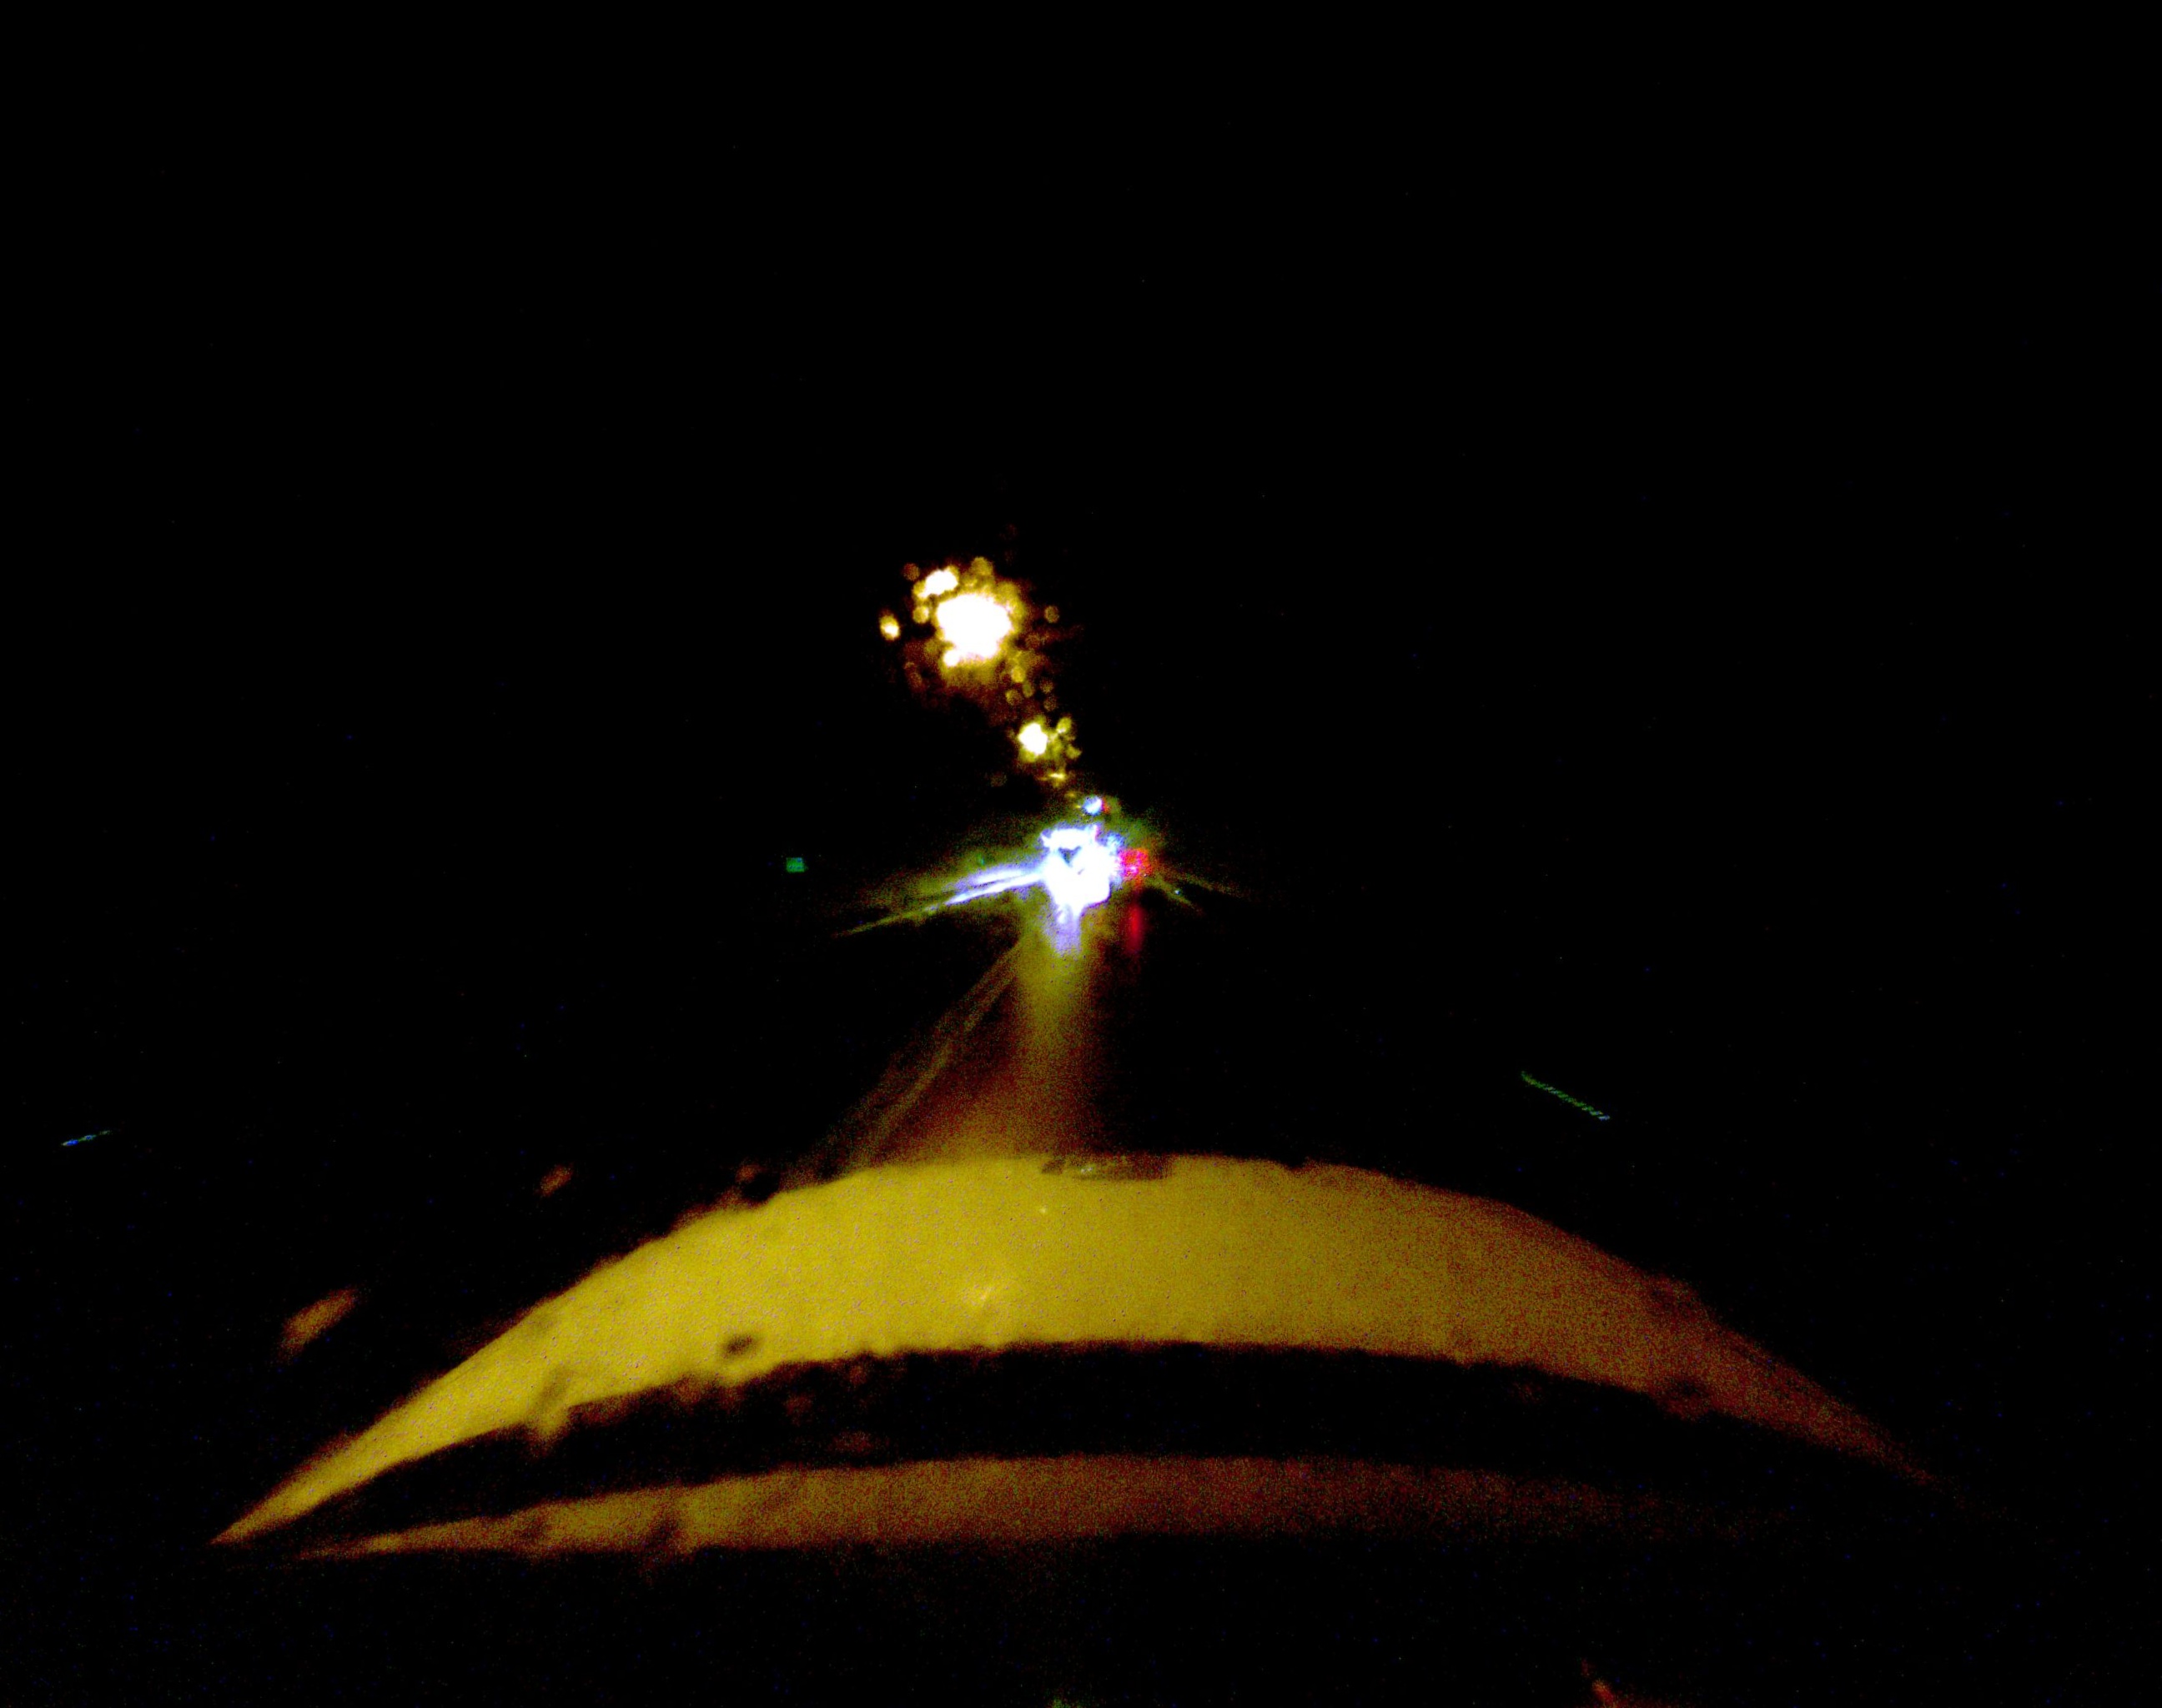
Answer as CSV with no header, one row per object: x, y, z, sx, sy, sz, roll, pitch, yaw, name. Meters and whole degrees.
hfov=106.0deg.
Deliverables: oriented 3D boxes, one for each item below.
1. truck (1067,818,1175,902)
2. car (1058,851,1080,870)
1.496,0.223,31.752,3.521,2.693,8.959,-2,0,2,truck
-1.004,0.548,69.494,1.592,1.613,3.998,-1,0,2,car
